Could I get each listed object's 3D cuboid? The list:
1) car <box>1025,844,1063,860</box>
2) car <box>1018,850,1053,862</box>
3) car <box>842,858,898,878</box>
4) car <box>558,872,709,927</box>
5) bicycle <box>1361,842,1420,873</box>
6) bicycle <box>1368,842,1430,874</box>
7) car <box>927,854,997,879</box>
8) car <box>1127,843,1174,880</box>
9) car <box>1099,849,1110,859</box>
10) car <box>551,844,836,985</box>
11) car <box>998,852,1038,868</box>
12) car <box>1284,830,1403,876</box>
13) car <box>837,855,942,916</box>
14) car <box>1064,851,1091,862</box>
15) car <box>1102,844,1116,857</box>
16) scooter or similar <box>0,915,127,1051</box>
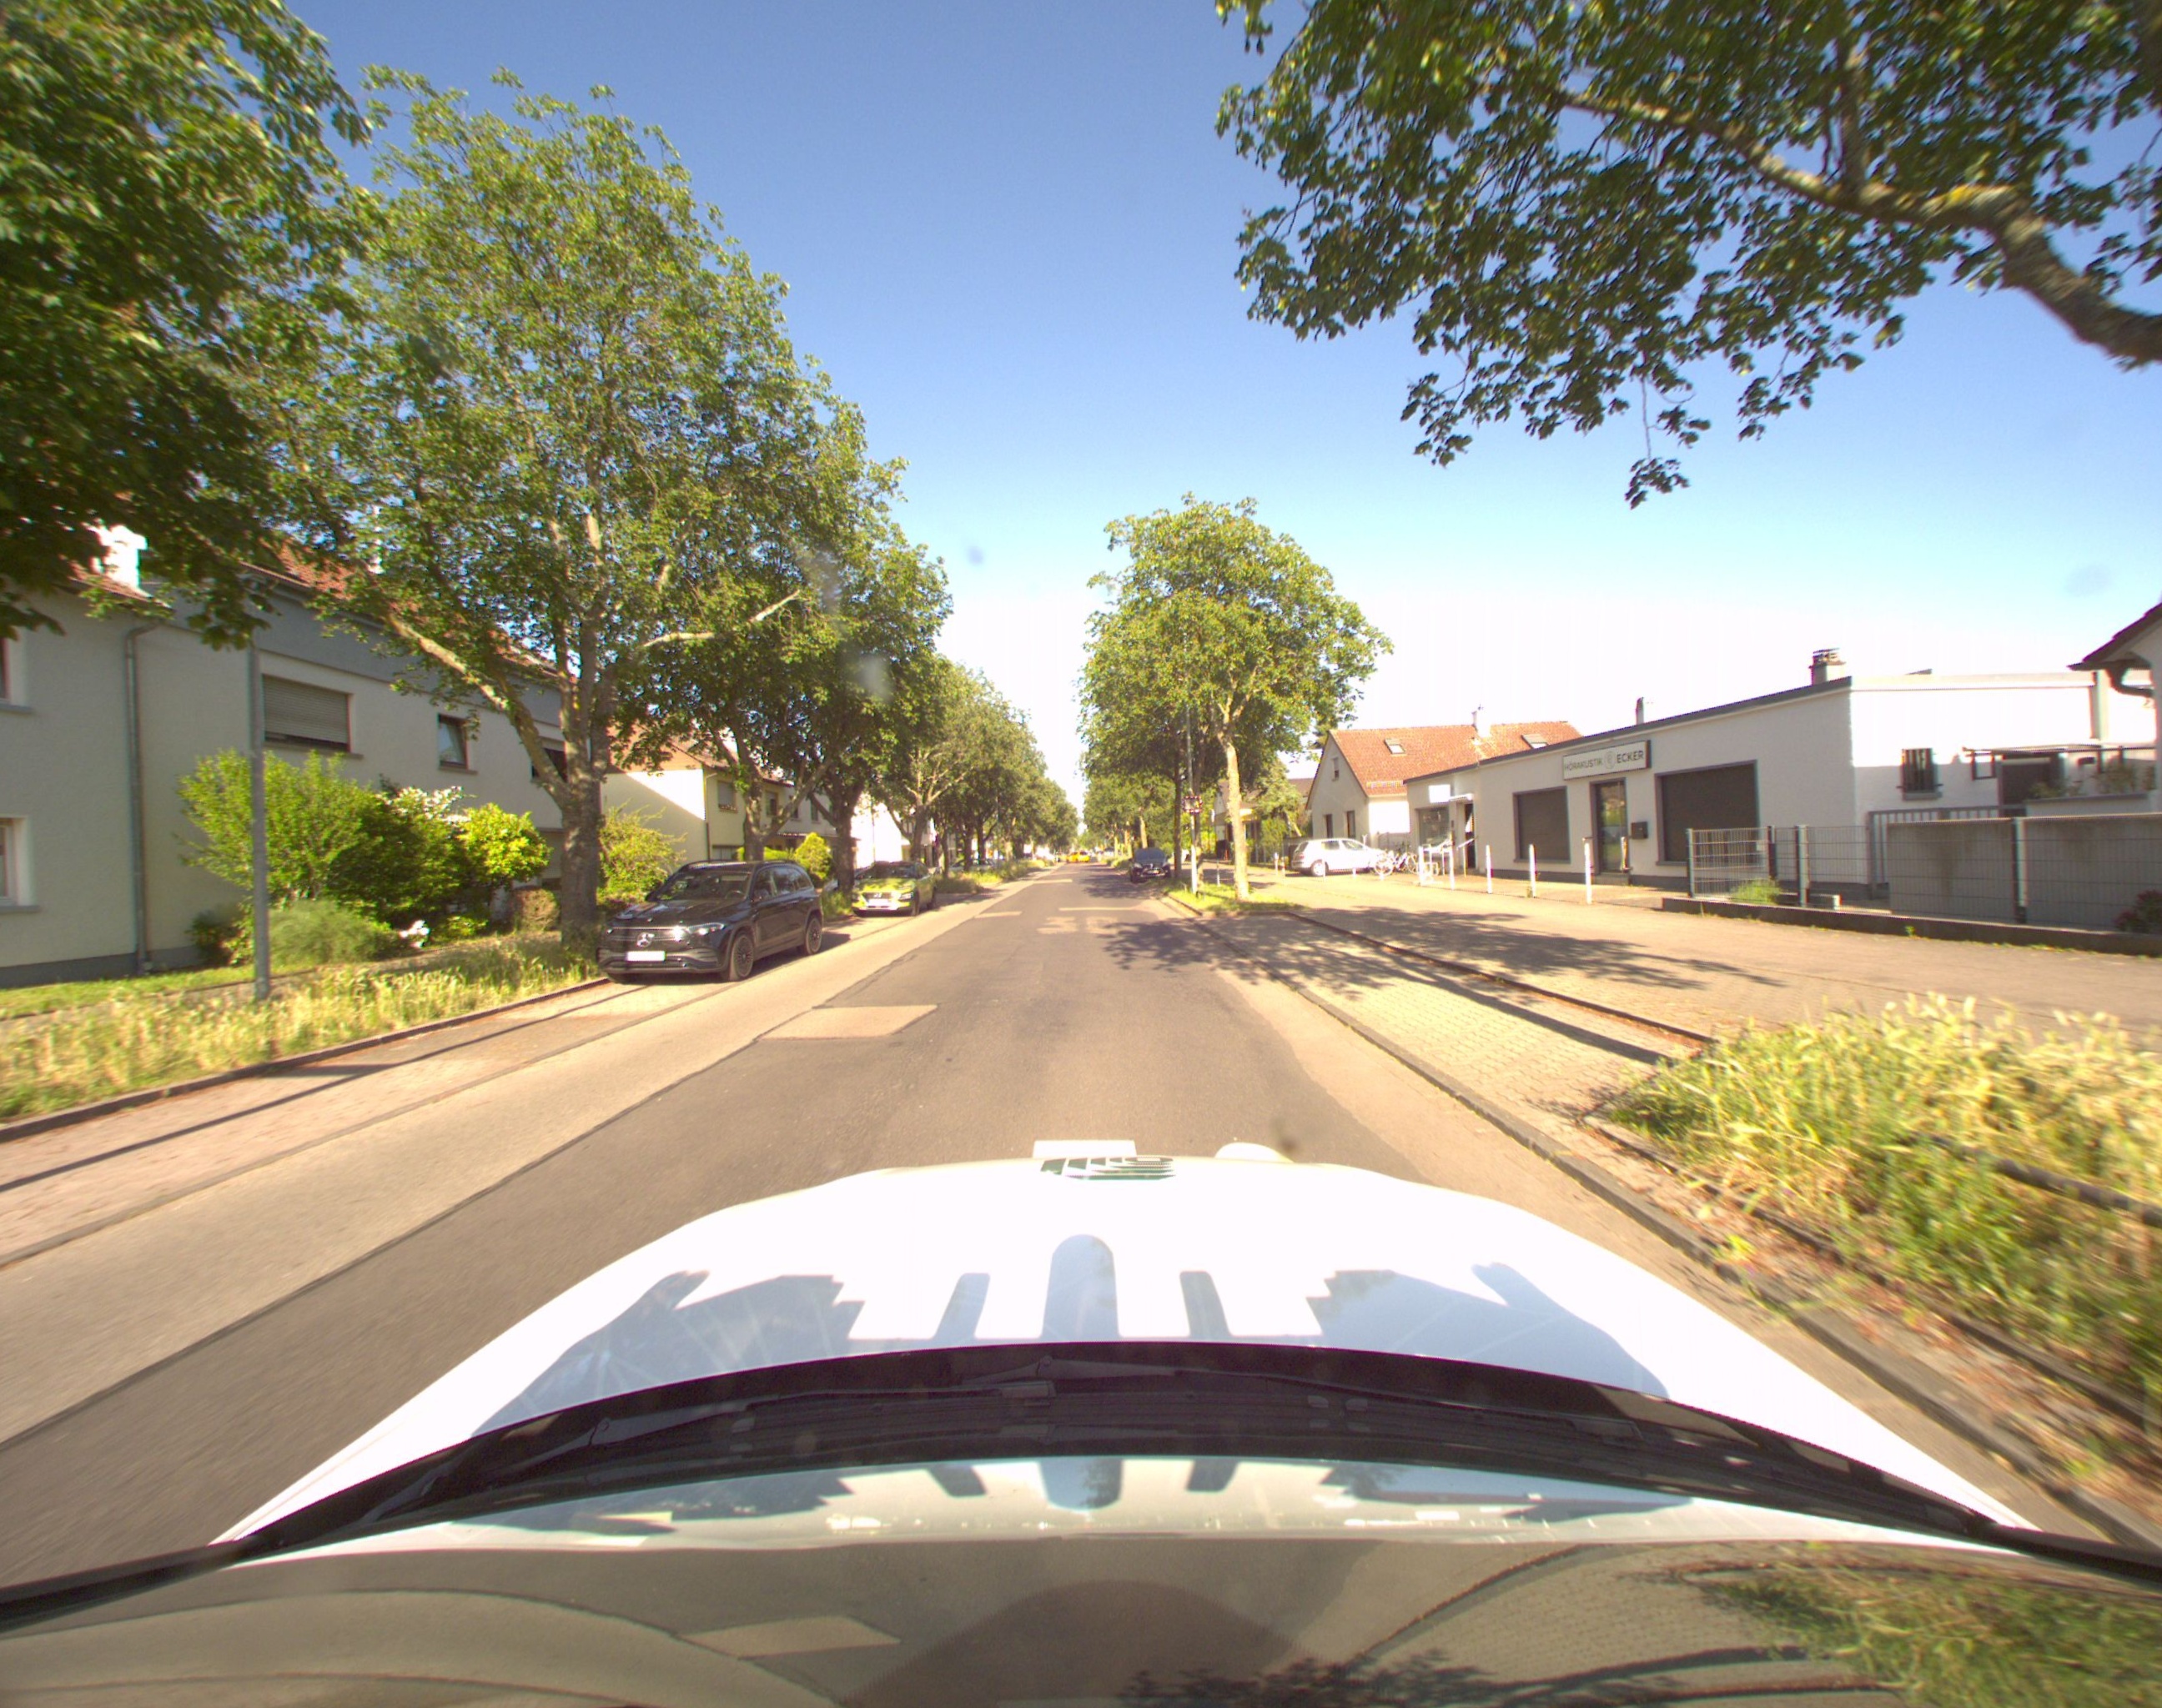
[{"bbox_3d":[-5.543,-0.352,122.294,5.483,2.247,2.516,-1,2,-2],"label":"car"},{"bbox_3d":[-5.638,0.290,100.798,4.279,1.315,1.906,-1,2,-5],"label":"car"},{"bbox_3d":[-18.979,1.283,73.449,4.545,1.617,1.998,-1,2,-4],"label":"car"},{"bbox_3d":[-15.995,1.602,29.289,4.227,1.713,1.997,-1,2,-5],"label":"car"},{"bbox_3d":[11.384,0.113,30.000,1.918,0.998,0.576,-4,2,-2],"label":"bicycle"},{"bbox_3d":[11.320,0.140,29.011,1.952,0.998,0.576,-4,2,-2],"label":"bicycle"},{"bbox_3d":[-8.227,0.856,56.746,4.540,1.511,1.841,-1,2,0],"label":"car"},{"bbox_3d":[3.361,0.366,40.290,1.847,1.625,4.469,-4,0,0],"label":"car"},{"bbox_3d":[4.407,-0.002,151.337,1.896,1.774,4.301,-1,0,1],"label":"car"},{"bbox_3d":[-5.568,0.778,12.586,1.946,1.727,4.876,-1,-1,1],"label":"car"},{"bbox_3d":[-7.239,0.691,94.224,4.538,1.765,1.997,-1,2,-5],"label":"car"},{"bbox_3d":[10.285,-0.071,32.109,3.976,1.488,1.901,-4,2,-1],"label":"car"},{"bbox_3d":[-5.539,0.864,24.127,1.932,1.609,4.385,-1,-1,1],"label":"car"},{"bbox_3d":[-0.525,0.272,111.247,1.901,1.479,3.848,0,0,-32],"label":"car"},{"bbox_3d":[3.919,-0.494,113.392,1.896,1.774,4.301,-1,0,1],"label":"car"},{"bbox_3d":[-8.752,1.062,6.822,0.334,1.001,0.996,-3,0,-3],"label":"scooter or similar"}]
